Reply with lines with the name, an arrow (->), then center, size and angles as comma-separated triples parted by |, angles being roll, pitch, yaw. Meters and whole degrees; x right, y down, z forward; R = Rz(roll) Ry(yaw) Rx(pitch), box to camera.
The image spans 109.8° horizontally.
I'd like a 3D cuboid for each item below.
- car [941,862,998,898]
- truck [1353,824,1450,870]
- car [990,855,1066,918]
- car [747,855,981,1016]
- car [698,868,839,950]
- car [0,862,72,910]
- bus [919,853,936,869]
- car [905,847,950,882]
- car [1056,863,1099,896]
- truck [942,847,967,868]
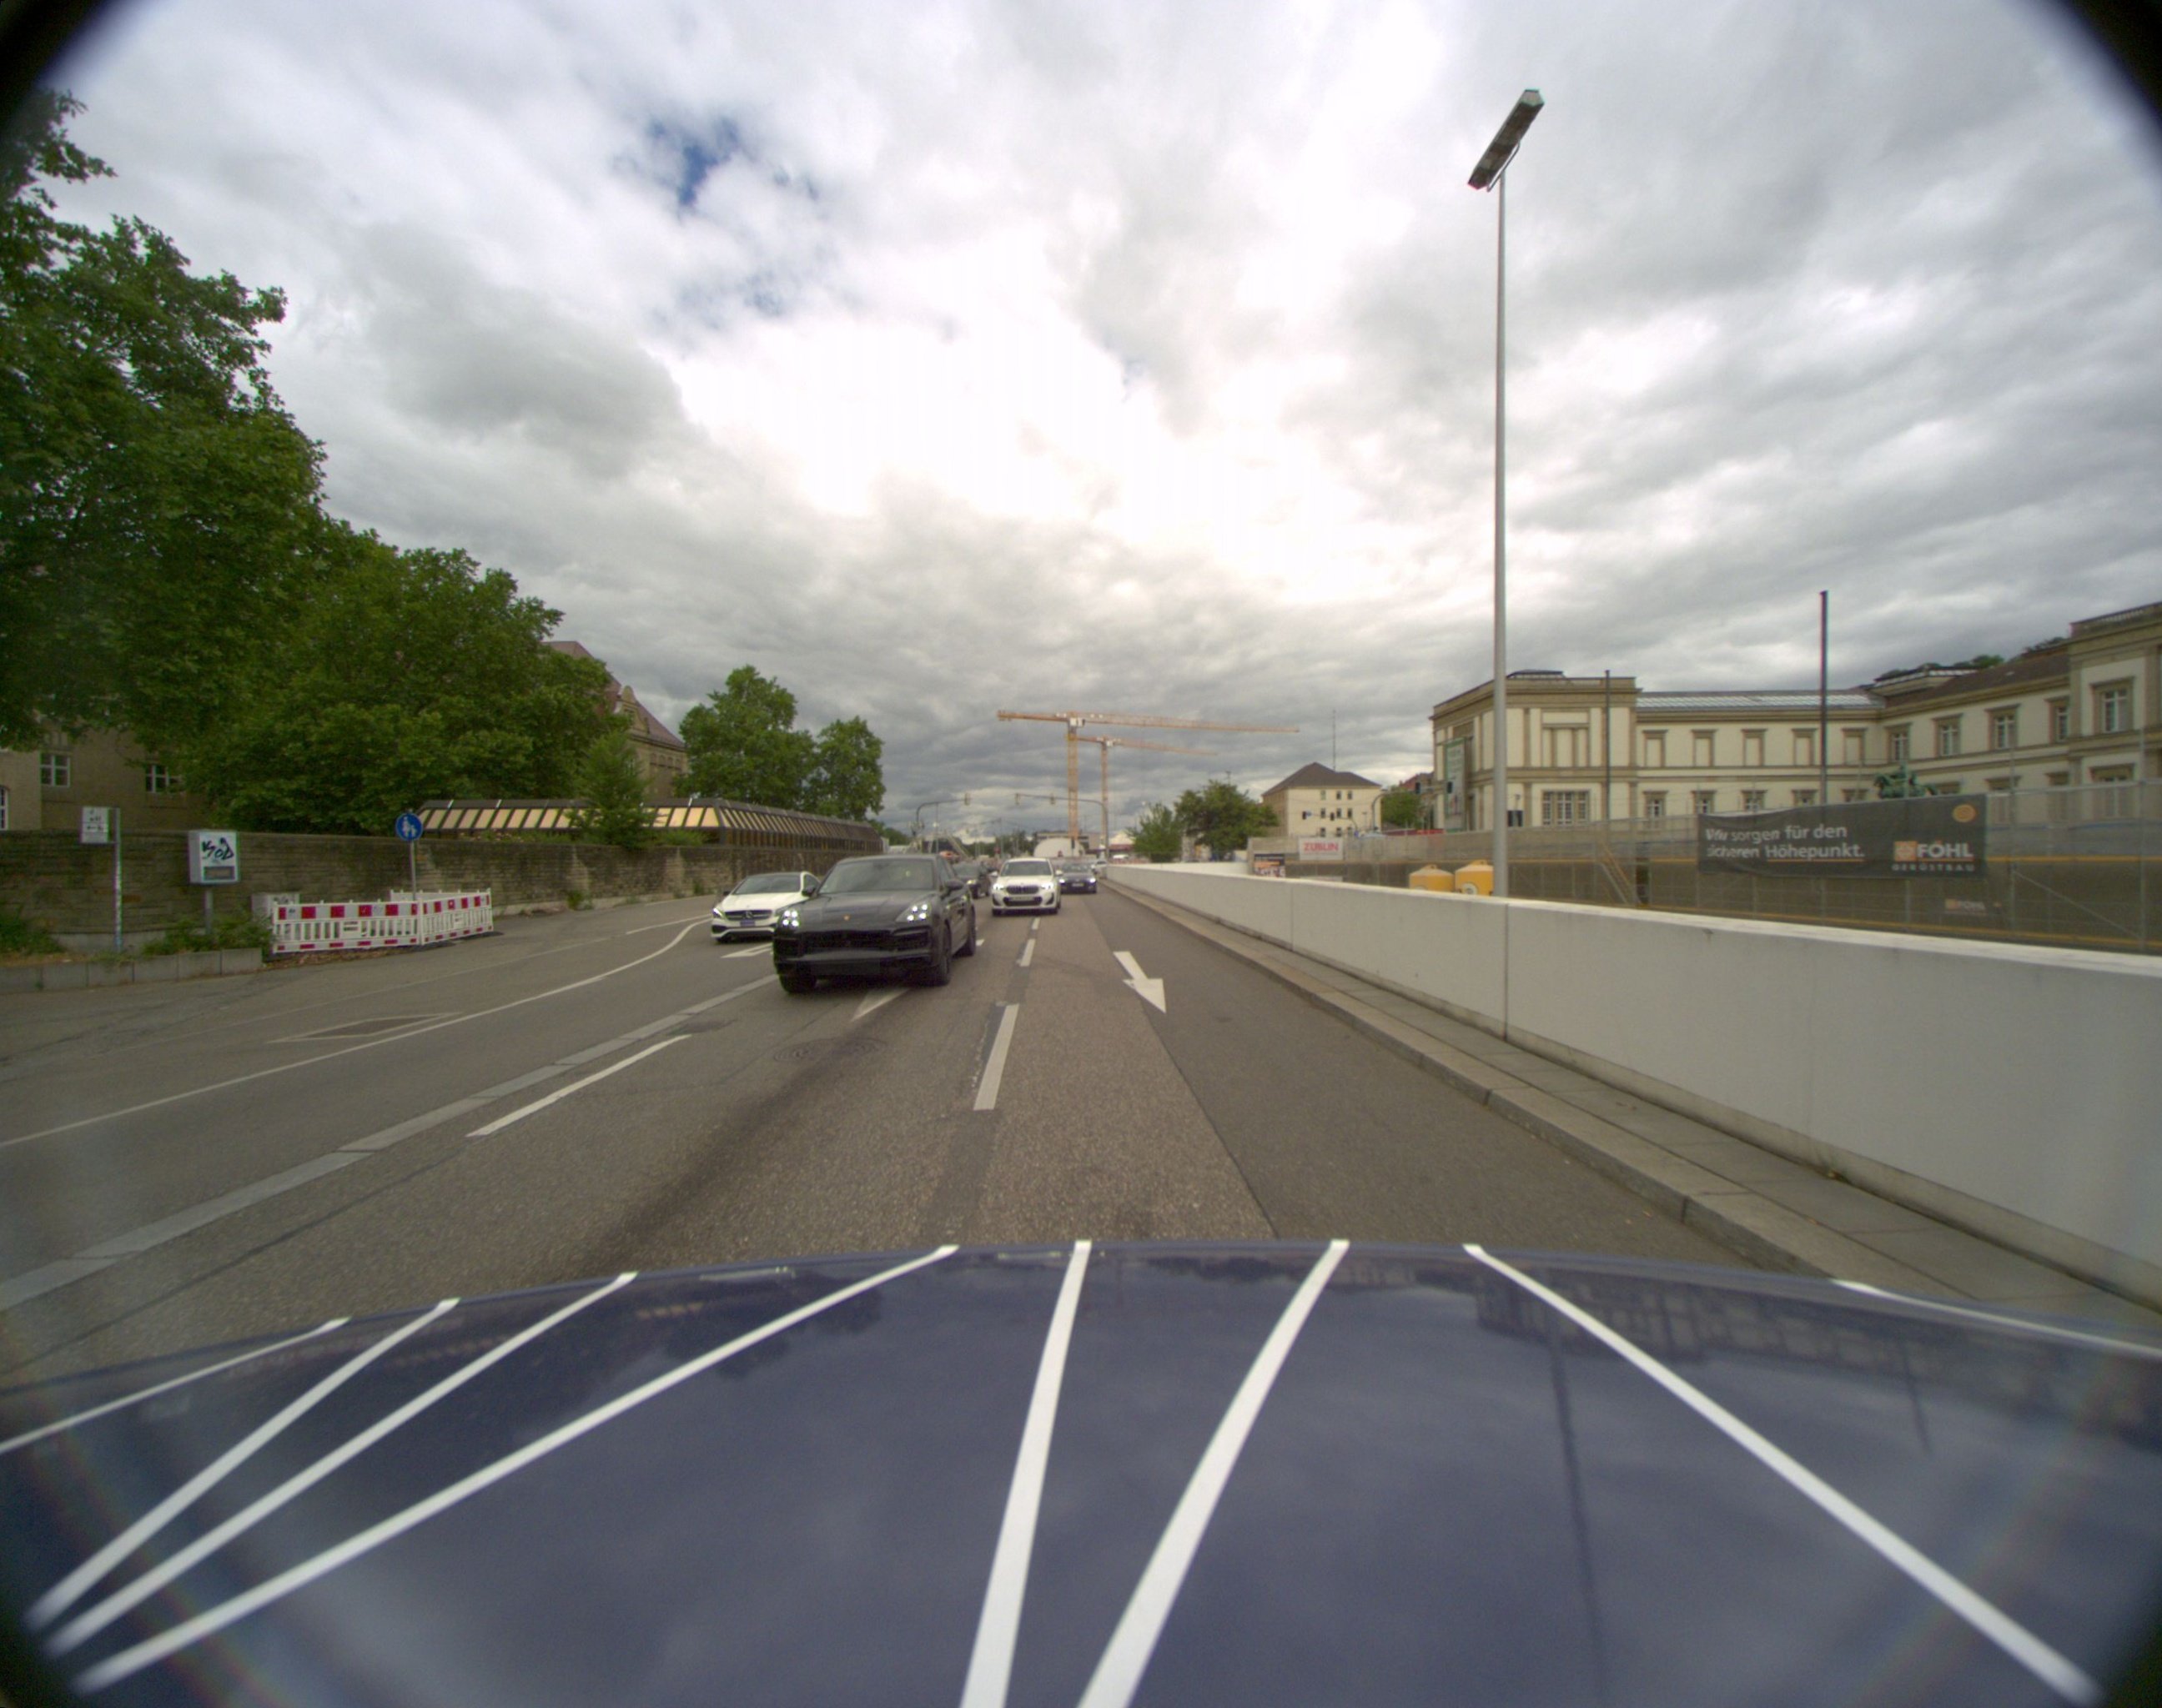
car -> -4.800, 1.082, 33.252 | 1.733, 1.461, 4.419 | 0, 0, 1
truck -> 31.549, -0.529, 76.122 | 2.924, 4.058, 16.616 | 0, -1, 1
car -> -1.448, 0.886, 22.092 | 1.812, 1.595, 3.713 | -3, 0, 1
car -> -2.661, 0.890, 10.585 | 1.956, 1.638, 4.607 | -4, 0, -2
car -> -6.887, 1.131, 17.265 | 1.740, 1.427, 4.378 | -2, 1, -6
car -> -42.508, 1.242, 29.332 | 1.812, 1.815, 3.972 | 0, 0, -1
bus -> -31.672, 1.402, 156.266 | 2.815, 3.150, 9.391 | 0, -1, -16
car -> -9.159, 0.631, 45.510 | 1.937, 1.926, 3.673 | 2, 0, -1
car -> -0.112, 1.142, 35.380 | 1.852, 1.412, 4.106 | -2, 0, 1
truck -> -22.154, 0.610, 132.750 | 2.913, 3.653, 9.013 | 0, 0, -17
